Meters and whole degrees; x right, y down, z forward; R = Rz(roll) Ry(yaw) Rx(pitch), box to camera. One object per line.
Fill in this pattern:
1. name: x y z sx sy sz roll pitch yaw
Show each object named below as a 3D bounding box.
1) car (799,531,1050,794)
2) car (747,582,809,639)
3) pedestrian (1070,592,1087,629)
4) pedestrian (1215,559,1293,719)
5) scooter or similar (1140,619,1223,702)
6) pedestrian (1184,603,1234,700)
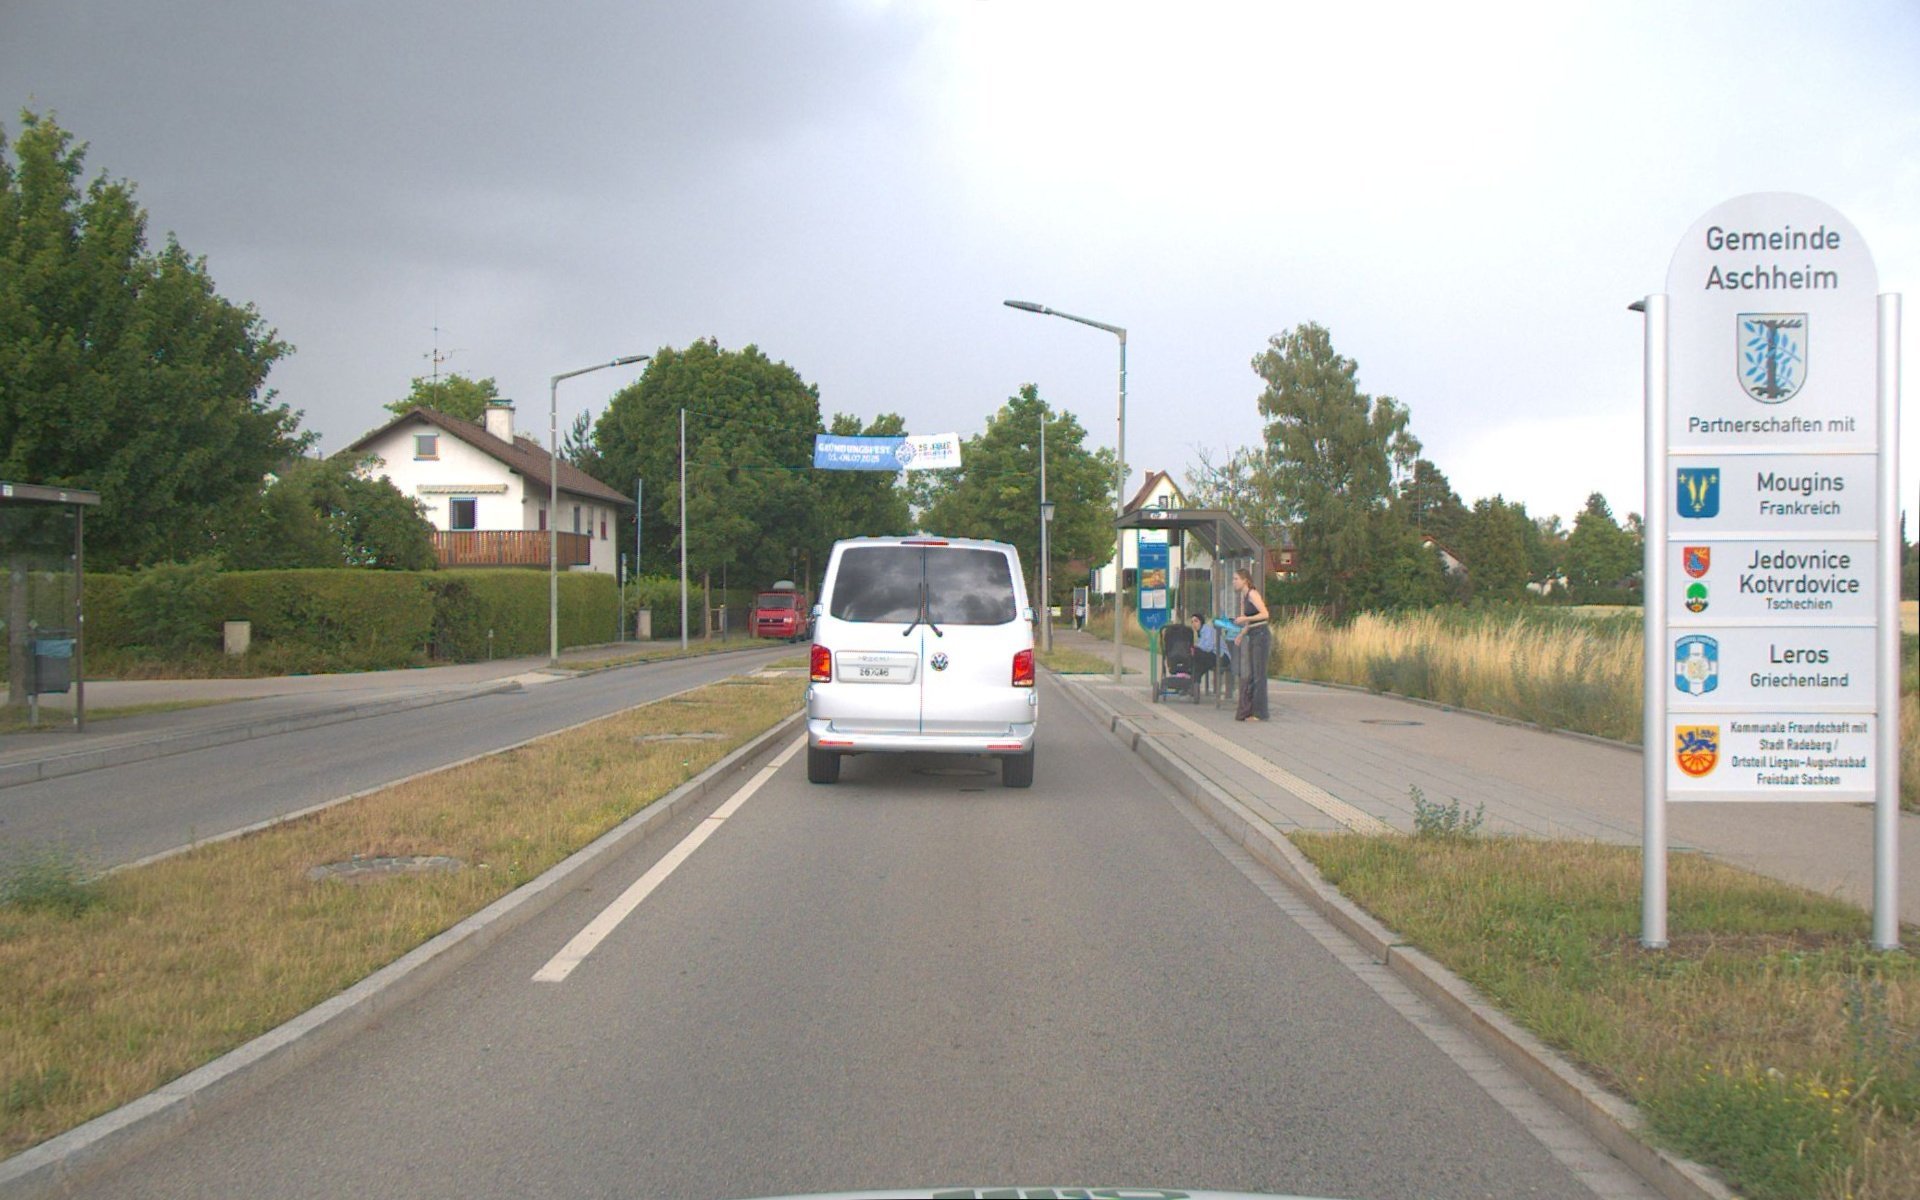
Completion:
1. car: -0.298 0.485 14.384 1.849 1.945 3.999 1 -1 -1
2. car: -7.044 0.392 64.557 1.792 2.066 5.046 2 0 0
3. pedestrian: 5.928 0.527 82.419 0.820 1.785 0.870 1 0 4
4. pedestrian: 3.477 0.454 19.525 0.764 1.824 0.779 2 -1 17
5. scooter or similar: 3.038 0.819 22.670 0.695 1.080 1.056 1 -1 36
6. pedestrian: 3.480 0.715 23.143 0.650 1.325 0.505 2 -1 9
